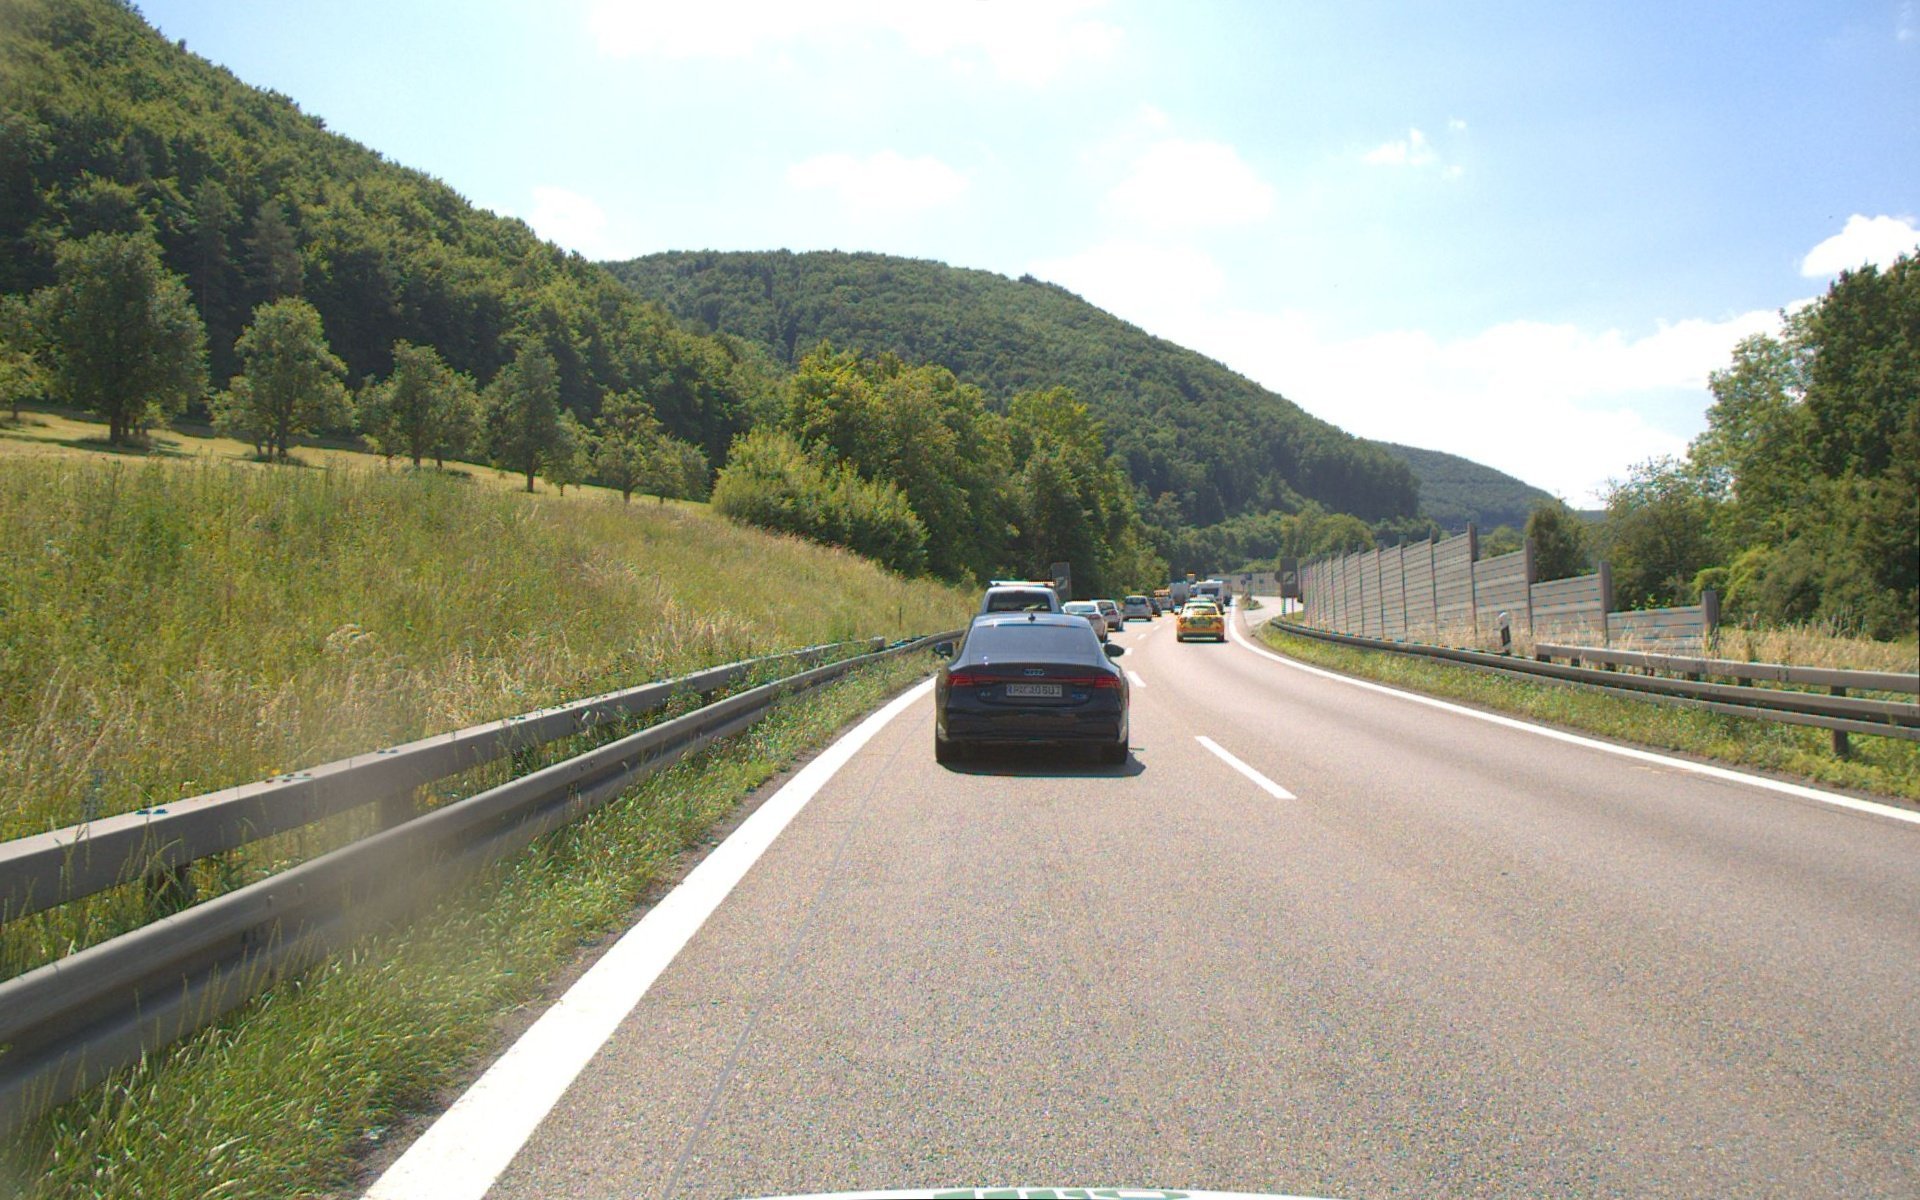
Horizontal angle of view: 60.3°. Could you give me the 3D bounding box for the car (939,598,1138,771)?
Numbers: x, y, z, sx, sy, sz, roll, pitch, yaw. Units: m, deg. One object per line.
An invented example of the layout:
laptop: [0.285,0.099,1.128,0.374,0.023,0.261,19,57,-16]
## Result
car: [0.766,0.751,16.498,1.774,1.541,3.515,0,0,2]

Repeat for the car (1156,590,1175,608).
car: [18.480,-0.111,148.706,1.488,1.580,3.517,2,0,11]

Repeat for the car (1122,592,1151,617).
car: [11.411,0.287,106.783,1.488,1.580,3.517,2,0,11]

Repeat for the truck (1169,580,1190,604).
truck: [25.189,-0.850,189.600,2.020,2.651,5.619,2,0,11]

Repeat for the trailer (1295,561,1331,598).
trailer: [39.280,-2.214,184.444,3.339,3.968,11.161,-1,0,9]

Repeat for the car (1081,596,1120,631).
car: [6.736,0.637,79.129,1.488,1.580,3.517,2,0,10]

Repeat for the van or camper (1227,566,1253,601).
van or camper: [32.943,-1.928,194.836,2.735,3.909,6.171,1,0,8]

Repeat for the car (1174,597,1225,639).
car: [9.214,0.668,63.453,1.839,1.525,4.003,-1,0,10]

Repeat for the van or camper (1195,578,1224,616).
van or camper: [21.530,-0.232,142.622,2.377,3.210,5.208,1,0,10]

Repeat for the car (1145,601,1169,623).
car: [15.105,0.899,126.510,1.488,1.580,3.517,2,0,12]

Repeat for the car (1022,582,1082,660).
car: [2.433,0.546,43.740,1.507,1.959,3.480,1,0,3]

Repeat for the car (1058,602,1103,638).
car: [4.547,0.732,62.124,1.489,1.317,3.517,0,0,7]

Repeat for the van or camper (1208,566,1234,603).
van or camper: [29.439,-1.742,186.462,2.735,3.975,6.171,1,0,8]

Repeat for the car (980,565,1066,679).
car: [1.218,0.392,31.354,1.489,2.002,3.515,2,0,3]

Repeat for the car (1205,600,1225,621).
car: [19.482,0.789,126.331,1.456,1.598,3.003,1,0,10]
